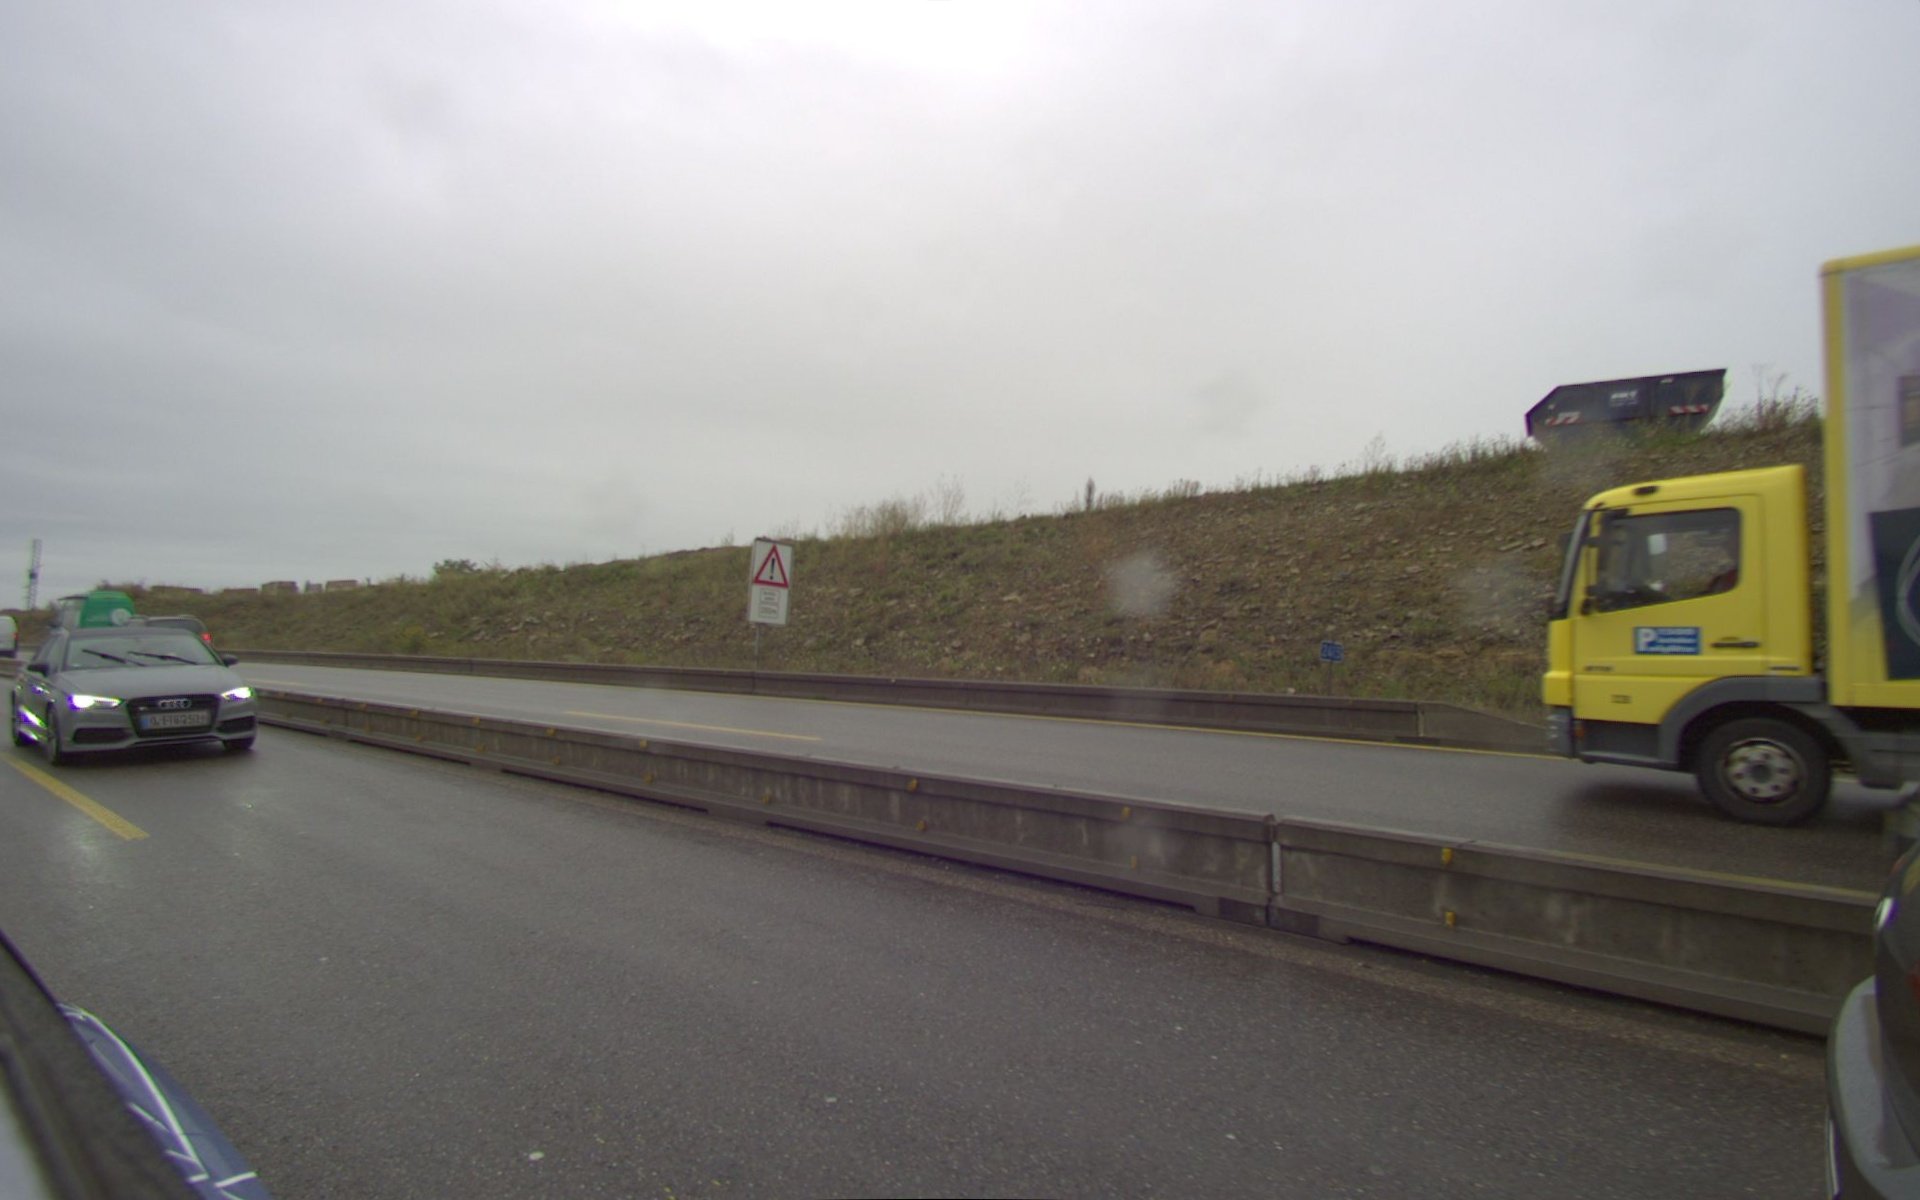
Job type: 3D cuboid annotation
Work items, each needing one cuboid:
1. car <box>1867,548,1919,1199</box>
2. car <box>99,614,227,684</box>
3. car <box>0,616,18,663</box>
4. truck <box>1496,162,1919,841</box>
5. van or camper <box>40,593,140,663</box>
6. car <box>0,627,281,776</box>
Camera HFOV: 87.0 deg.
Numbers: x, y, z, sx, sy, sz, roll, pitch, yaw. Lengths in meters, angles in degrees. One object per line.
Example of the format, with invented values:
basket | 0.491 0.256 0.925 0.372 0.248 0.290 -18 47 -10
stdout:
car | 3.313 0.656 0.348 4.364 1.518 1.598 -1 -3 40
car | -20.427 1.212 25.890 3.996 1.609 1.743 -1 0 39
car | -41.519 1.669 42.676 5.270 1.901 1.980 -1 0 40
truck | 8.043 -0.621 5.718 8.420 4.027 2.739 -1 -1 42
van or camper | -37.555 1.185 43.631 5.934 2.839 2.081 -1 0 38
car | -9.554 1.017 11.639 4.083 1.393 1.782 -1 -1 39
